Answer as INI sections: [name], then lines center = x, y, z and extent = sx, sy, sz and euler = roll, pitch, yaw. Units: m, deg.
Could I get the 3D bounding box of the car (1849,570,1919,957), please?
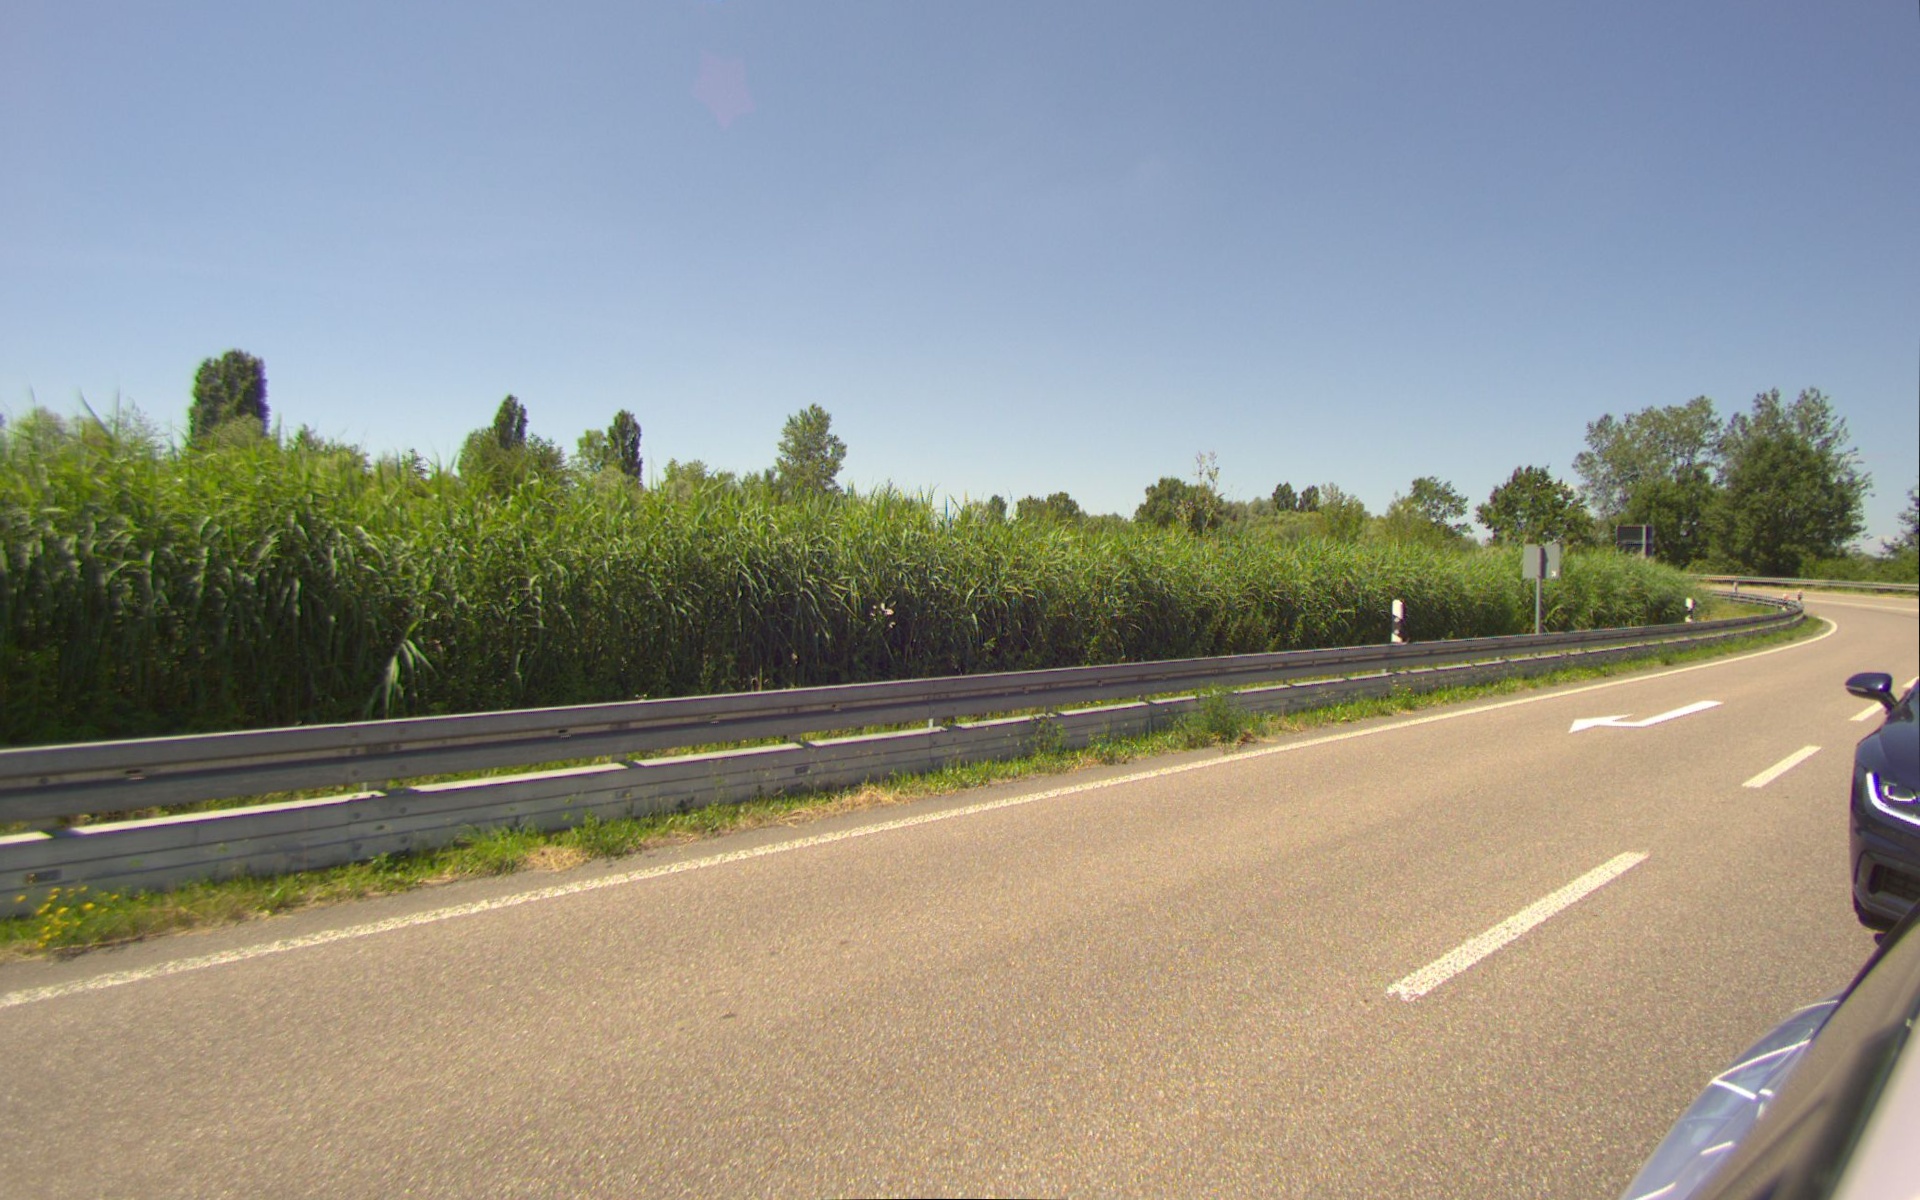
[car]
center = 5.769, 0.615, 4.762
extent = 4.338, 1.481, 1.818
euler = -1, 1, -41
